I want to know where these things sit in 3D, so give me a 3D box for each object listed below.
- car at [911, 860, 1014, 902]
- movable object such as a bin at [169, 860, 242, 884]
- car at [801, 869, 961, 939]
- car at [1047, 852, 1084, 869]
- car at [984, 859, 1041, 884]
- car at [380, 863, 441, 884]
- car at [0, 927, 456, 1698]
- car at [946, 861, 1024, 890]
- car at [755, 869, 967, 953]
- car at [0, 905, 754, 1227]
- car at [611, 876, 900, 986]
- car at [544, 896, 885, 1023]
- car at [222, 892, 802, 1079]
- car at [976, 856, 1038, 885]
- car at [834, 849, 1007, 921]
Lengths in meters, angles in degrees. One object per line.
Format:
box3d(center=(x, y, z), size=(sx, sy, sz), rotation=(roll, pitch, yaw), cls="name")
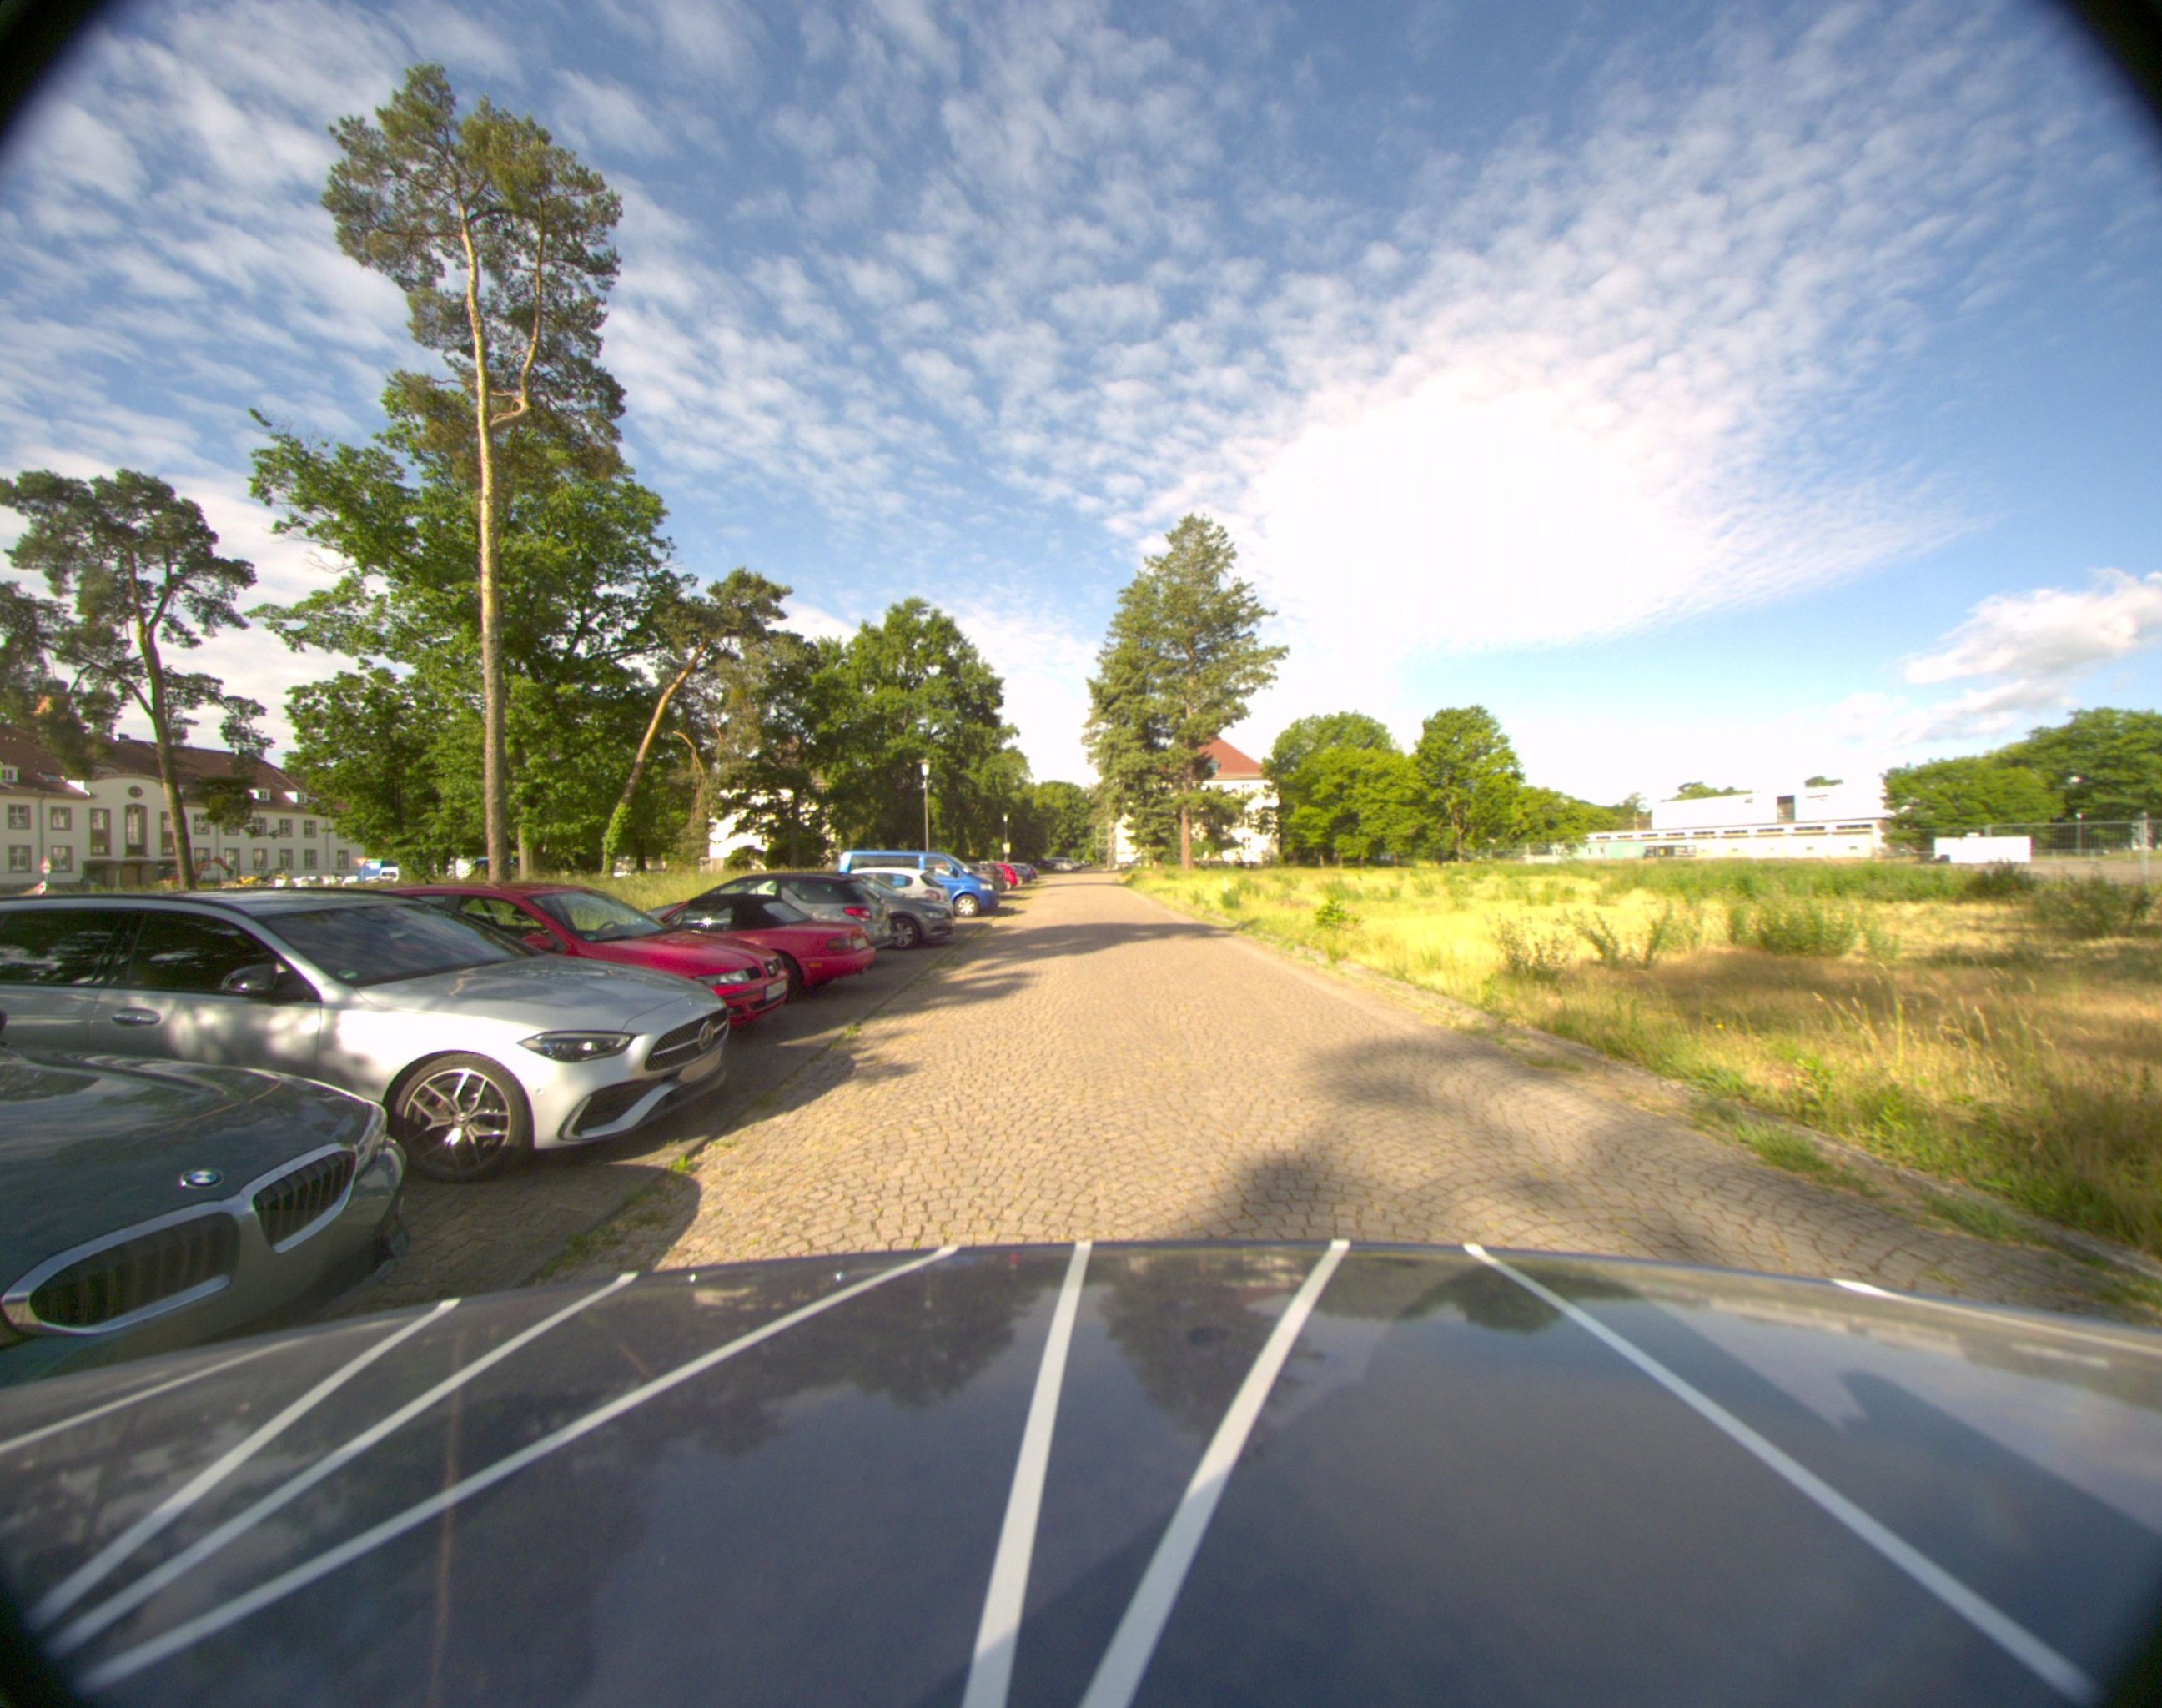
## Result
box3d(center=(-4.922, 1.112, 31.891), size=(3.996, 1.630, 1.757), rotation=(-1, 0, 2), cls="car")
box3d(center=(-91.326, 1.848, 79.371), size=(1.999, 2.309, 4.985), rotation=(-1, 0, -4), cls="movable object such as a bin")
box3d(center=(-4.549, 1.123, 17.570), size=(3.264, 1.482, 1.449), rotation=(-1, 0, 2), cls="car")
box3d(center=(-2.161, 0.884, 105.917), size=(5.068, 2.251, 2.000), rotation=(-1, 0, 0), cls="car")
box3d(center=(-5.132, 1.311, 57.278), size=(3.996, 1.605, 1.757), rotation=(-4, 1, 4), cls="car")
box3d(center=(-69.226, 1.992, 78.558), size=(1.998, 2.002, 4.773), rotation=(-1, 0, 1), cls="car")
box3d(center=(-4.547, 1.022, 1.792), size=(4.507, 1.508, 1.825), rotation=(0, 0, -4), cls="car")
box3d(center=(-5.290, 1.170, 42.250), size=(3.996, 1.509, 1.757), rotation=(-1, 0, 2), cls="car")
box3d(center=(-4.202, 1.080, 14.721), size=(3.621, 1.482, 1.509), rotation=(-1, 0, 9), cls="car")
box3d(center=(-4.560, 1.077, 4.524), size=(4.423, 1.394, 1.826), rotation=(1, 0, -1), cls="car")
box3d(center=(-4.885, 1.140, 11.773), size=(3.779, 1.482, 1.549), rotation=(-1, 0, -1), cls="car")
box3d(center=(-4.223, 1.202, 9.093), size=(3.357, 1.248, 1.420), rotation=(-1, 0, -1), cls="car")
box3d(center=(-4.764, 1.078, 6.808), size=(3.918, 1.385, 1.661), rotation=(0, 0, -1), cls="car")
box3d(center=(-5.054, 1.118, 52.437), size=(3.996, 1.731, 1.757), rotation=(-3, 0, 2), cls="car")
box3d(center=(-4.737, 0.903, 22.956), size=(4.726, 2.002, 2.000), rotation=(-1, 0, 1), cls="car")
